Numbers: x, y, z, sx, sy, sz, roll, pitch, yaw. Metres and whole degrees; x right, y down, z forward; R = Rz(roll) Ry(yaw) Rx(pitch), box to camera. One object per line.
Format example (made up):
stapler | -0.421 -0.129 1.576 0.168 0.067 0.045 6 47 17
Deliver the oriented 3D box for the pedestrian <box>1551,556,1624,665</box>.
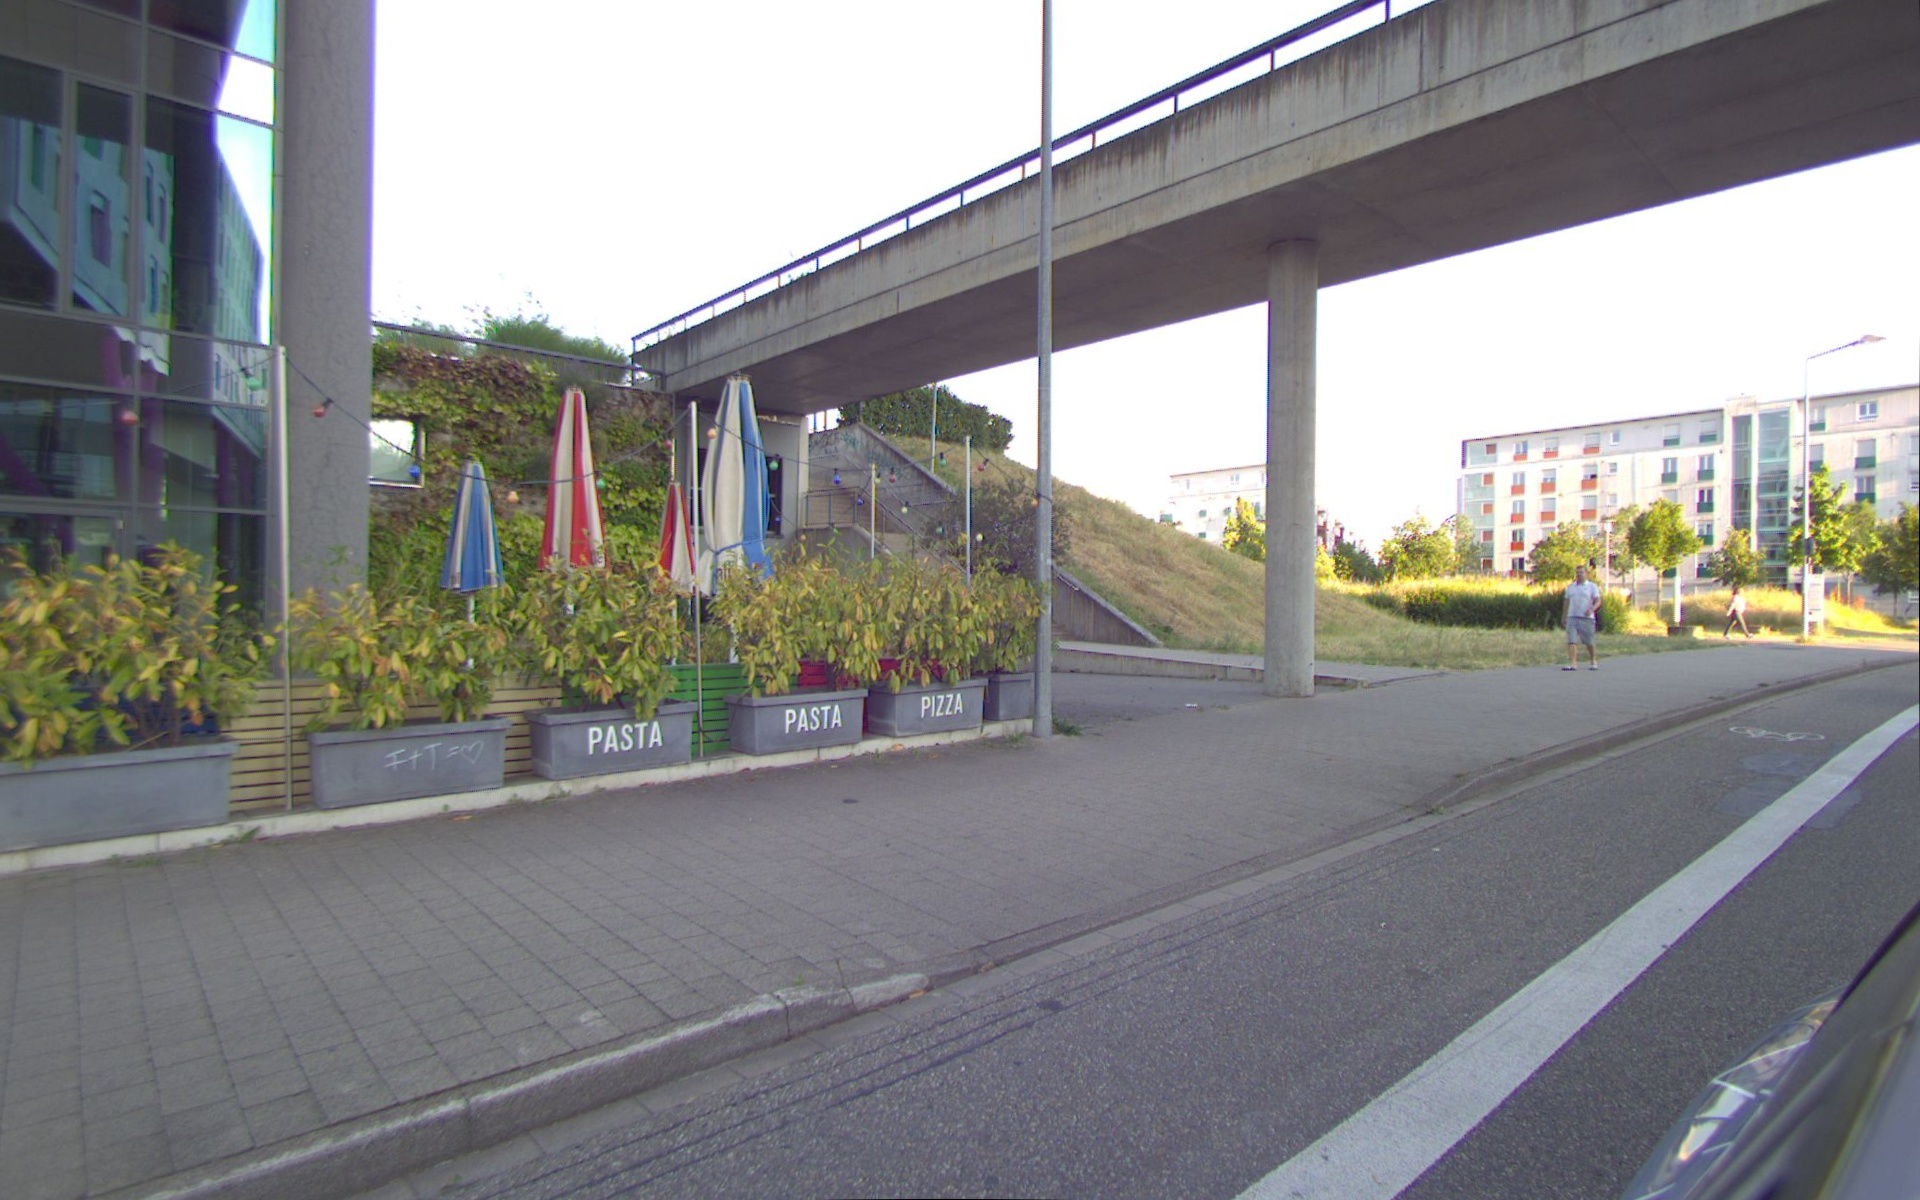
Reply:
pedestrian | 10.476 0.154 16.888 0.890 1.745 0.737 1 2 -40

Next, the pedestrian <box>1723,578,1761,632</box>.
pedestrian | 24.715 0.158 31.980 0.844 1.650 0.737 1 2 -39
